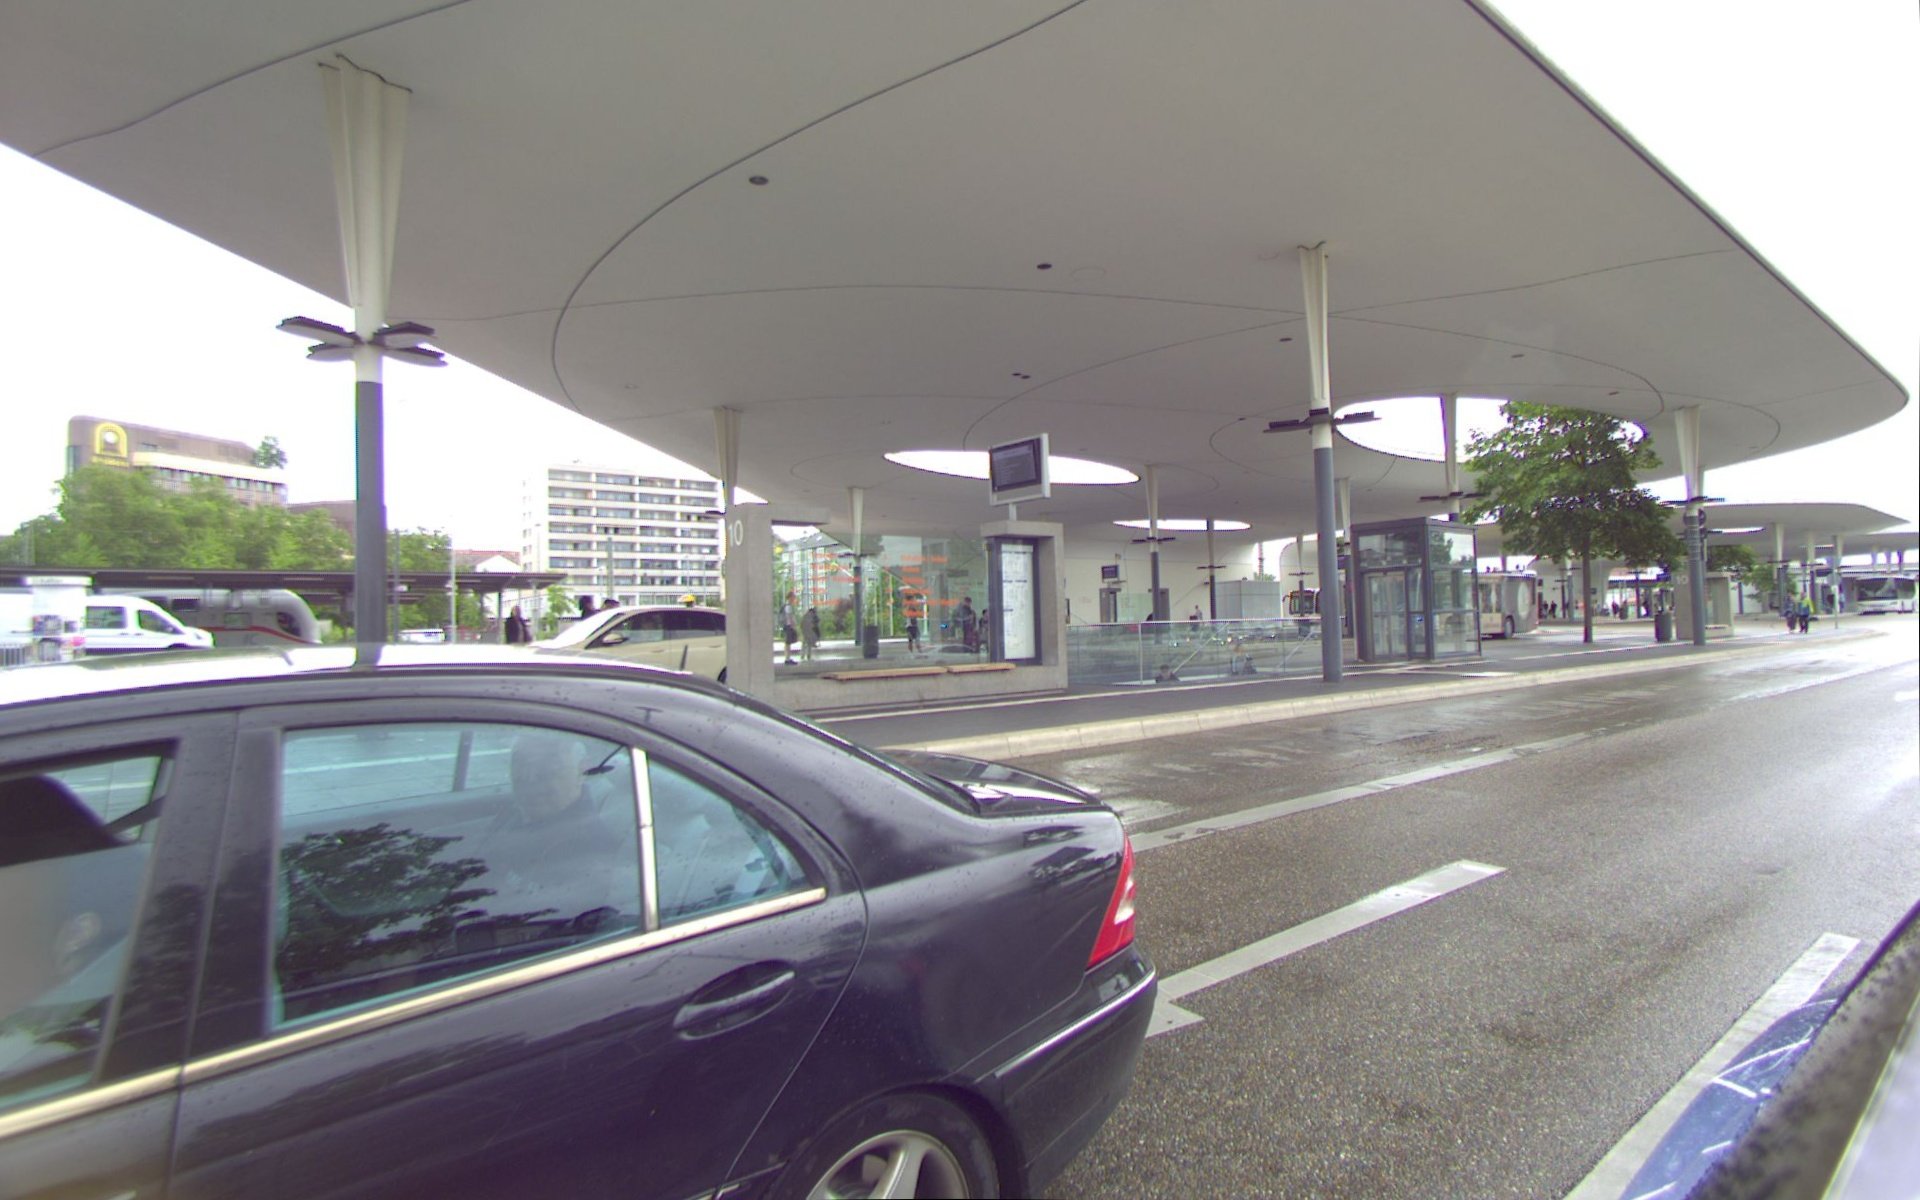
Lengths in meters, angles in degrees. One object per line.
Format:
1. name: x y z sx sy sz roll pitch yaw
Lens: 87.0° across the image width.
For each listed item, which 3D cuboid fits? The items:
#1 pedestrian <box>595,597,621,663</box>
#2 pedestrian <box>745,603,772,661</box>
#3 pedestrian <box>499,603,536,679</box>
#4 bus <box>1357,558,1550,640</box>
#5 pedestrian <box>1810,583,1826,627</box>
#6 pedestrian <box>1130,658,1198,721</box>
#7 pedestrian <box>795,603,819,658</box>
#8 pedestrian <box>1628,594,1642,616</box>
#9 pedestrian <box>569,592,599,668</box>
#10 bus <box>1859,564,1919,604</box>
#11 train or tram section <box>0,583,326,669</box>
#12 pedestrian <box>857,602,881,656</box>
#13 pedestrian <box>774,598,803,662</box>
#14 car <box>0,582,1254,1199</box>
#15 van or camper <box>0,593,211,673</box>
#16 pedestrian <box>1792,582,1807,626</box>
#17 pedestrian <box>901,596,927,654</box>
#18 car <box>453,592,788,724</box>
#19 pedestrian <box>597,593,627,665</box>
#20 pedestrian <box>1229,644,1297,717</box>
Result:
1. pedestrian: -8.278 0.692 23.816 0.469 1.533 0.535 -1 -1 -5
2. pedestrian: -5.442 0.845 27.294 0.555 1.533 0.479 0 -1 -36
3. pedestrian: -9.729 0.892 22.239 0.725 1.615 0.643 0 0 -25
4. bus: 21.327 -0.113 43.216 11.709 3.121 2.875 -1 1 -40
5. pedestrian: 35.432 0.209 41.796 0.444 1.786 0.529 -1 -1 44
6. pedestrian: 3.923 1.696 19.437 0.940 1.068 0.883 -1 0 -36
7. pedestrian: -4.323 0.847 28.568 0.515 1.533 0.479 0 -1 -36
8. pedestrian: 61.444 0.442 92.113 1.018 2.039 0.869 0 0 35
9. pedestrian: -7.797 0.612 20.966 0.470 1.533 0.535 0 -1 -35
10. bus: 77.679 -1.295 84.665 3.570 3.138 10.592 -1 0 42
11. train or tram section: -49.520 1.283 51.678 28.787 4.234 4.600 -1 1 -40
12. pedestrian: -2.625 0.816 29.196 0.515 1.533 0.479 0 -1 -36
13. pedestrian: -4.180 0.715 24.609 0.525 1.533 0.479 0 -1 -36
14. car: -1.471 0.721 1.802 4.373 1.484 1.698 -1 1 -40
15. van or camper: -28.842 1.034 34.067 5.760 2.464 1.998 -1 1 -40
16. pedestrian: 35.034 0.166 42.230 0.444 1.786 0.529 -1 -1 44
17. pedestrian: -1.229 0.664 27.120 0.525 1.533 0.479 0 -1 -36
18. car: -5.102 0.740 15.521 4.461 1.702 1.998 -1 1 -39
19. pedestrian: -7.552 0.614 21.960 0.470 1.533 0.535 0 -1 -35
20. pedestrian: 5.847 1.528 19.541 0.940 1.291 0.883 -1 0 -36
